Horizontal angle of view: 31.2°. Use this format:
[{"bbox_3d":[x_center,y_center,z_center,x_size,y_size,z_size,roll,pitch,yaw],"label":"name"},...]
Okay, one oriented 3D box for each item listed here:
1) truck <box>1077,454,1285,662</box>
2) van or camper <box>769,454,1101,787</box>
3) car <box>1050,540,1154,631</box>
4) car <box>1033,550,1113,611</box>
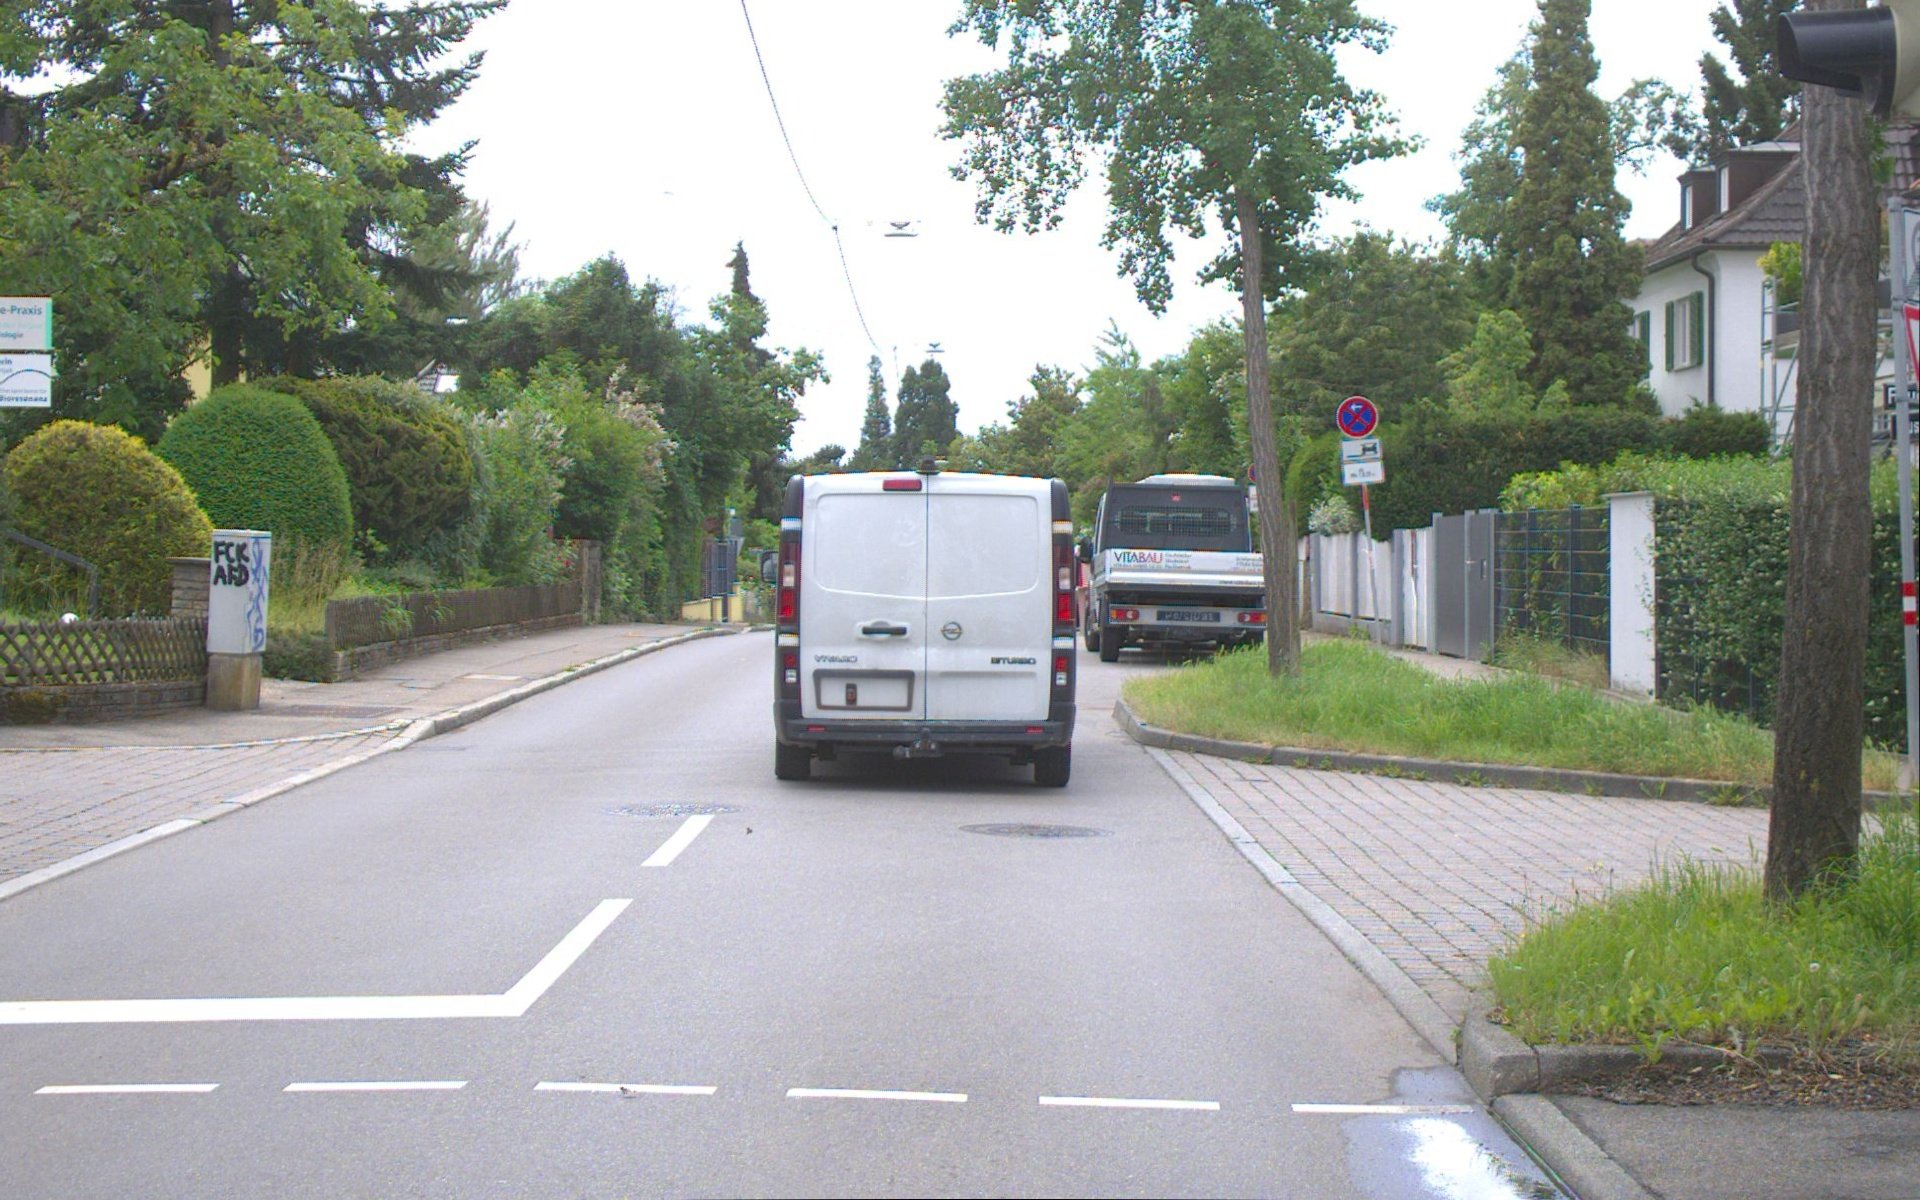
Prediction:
[{"bbox_3d":[2.786,-0.557,45.117,2.187,2.463,7.431,1,1,0],"label":"truck"},{"bbox_3d":[-0.172,0.135,22.866,1.939,1.947,4.765,1,0,-1],"label":"van or camper"},{"bbox_3d":[2.679,-0.281,65.649,1.744,1.669,4.185,-1,0,-1],"label":"car"},{"bbox_3d":[2.744,-0.477,84.305,1.744,1.442,4.259,-1,0,-1],"label":"car"}]
